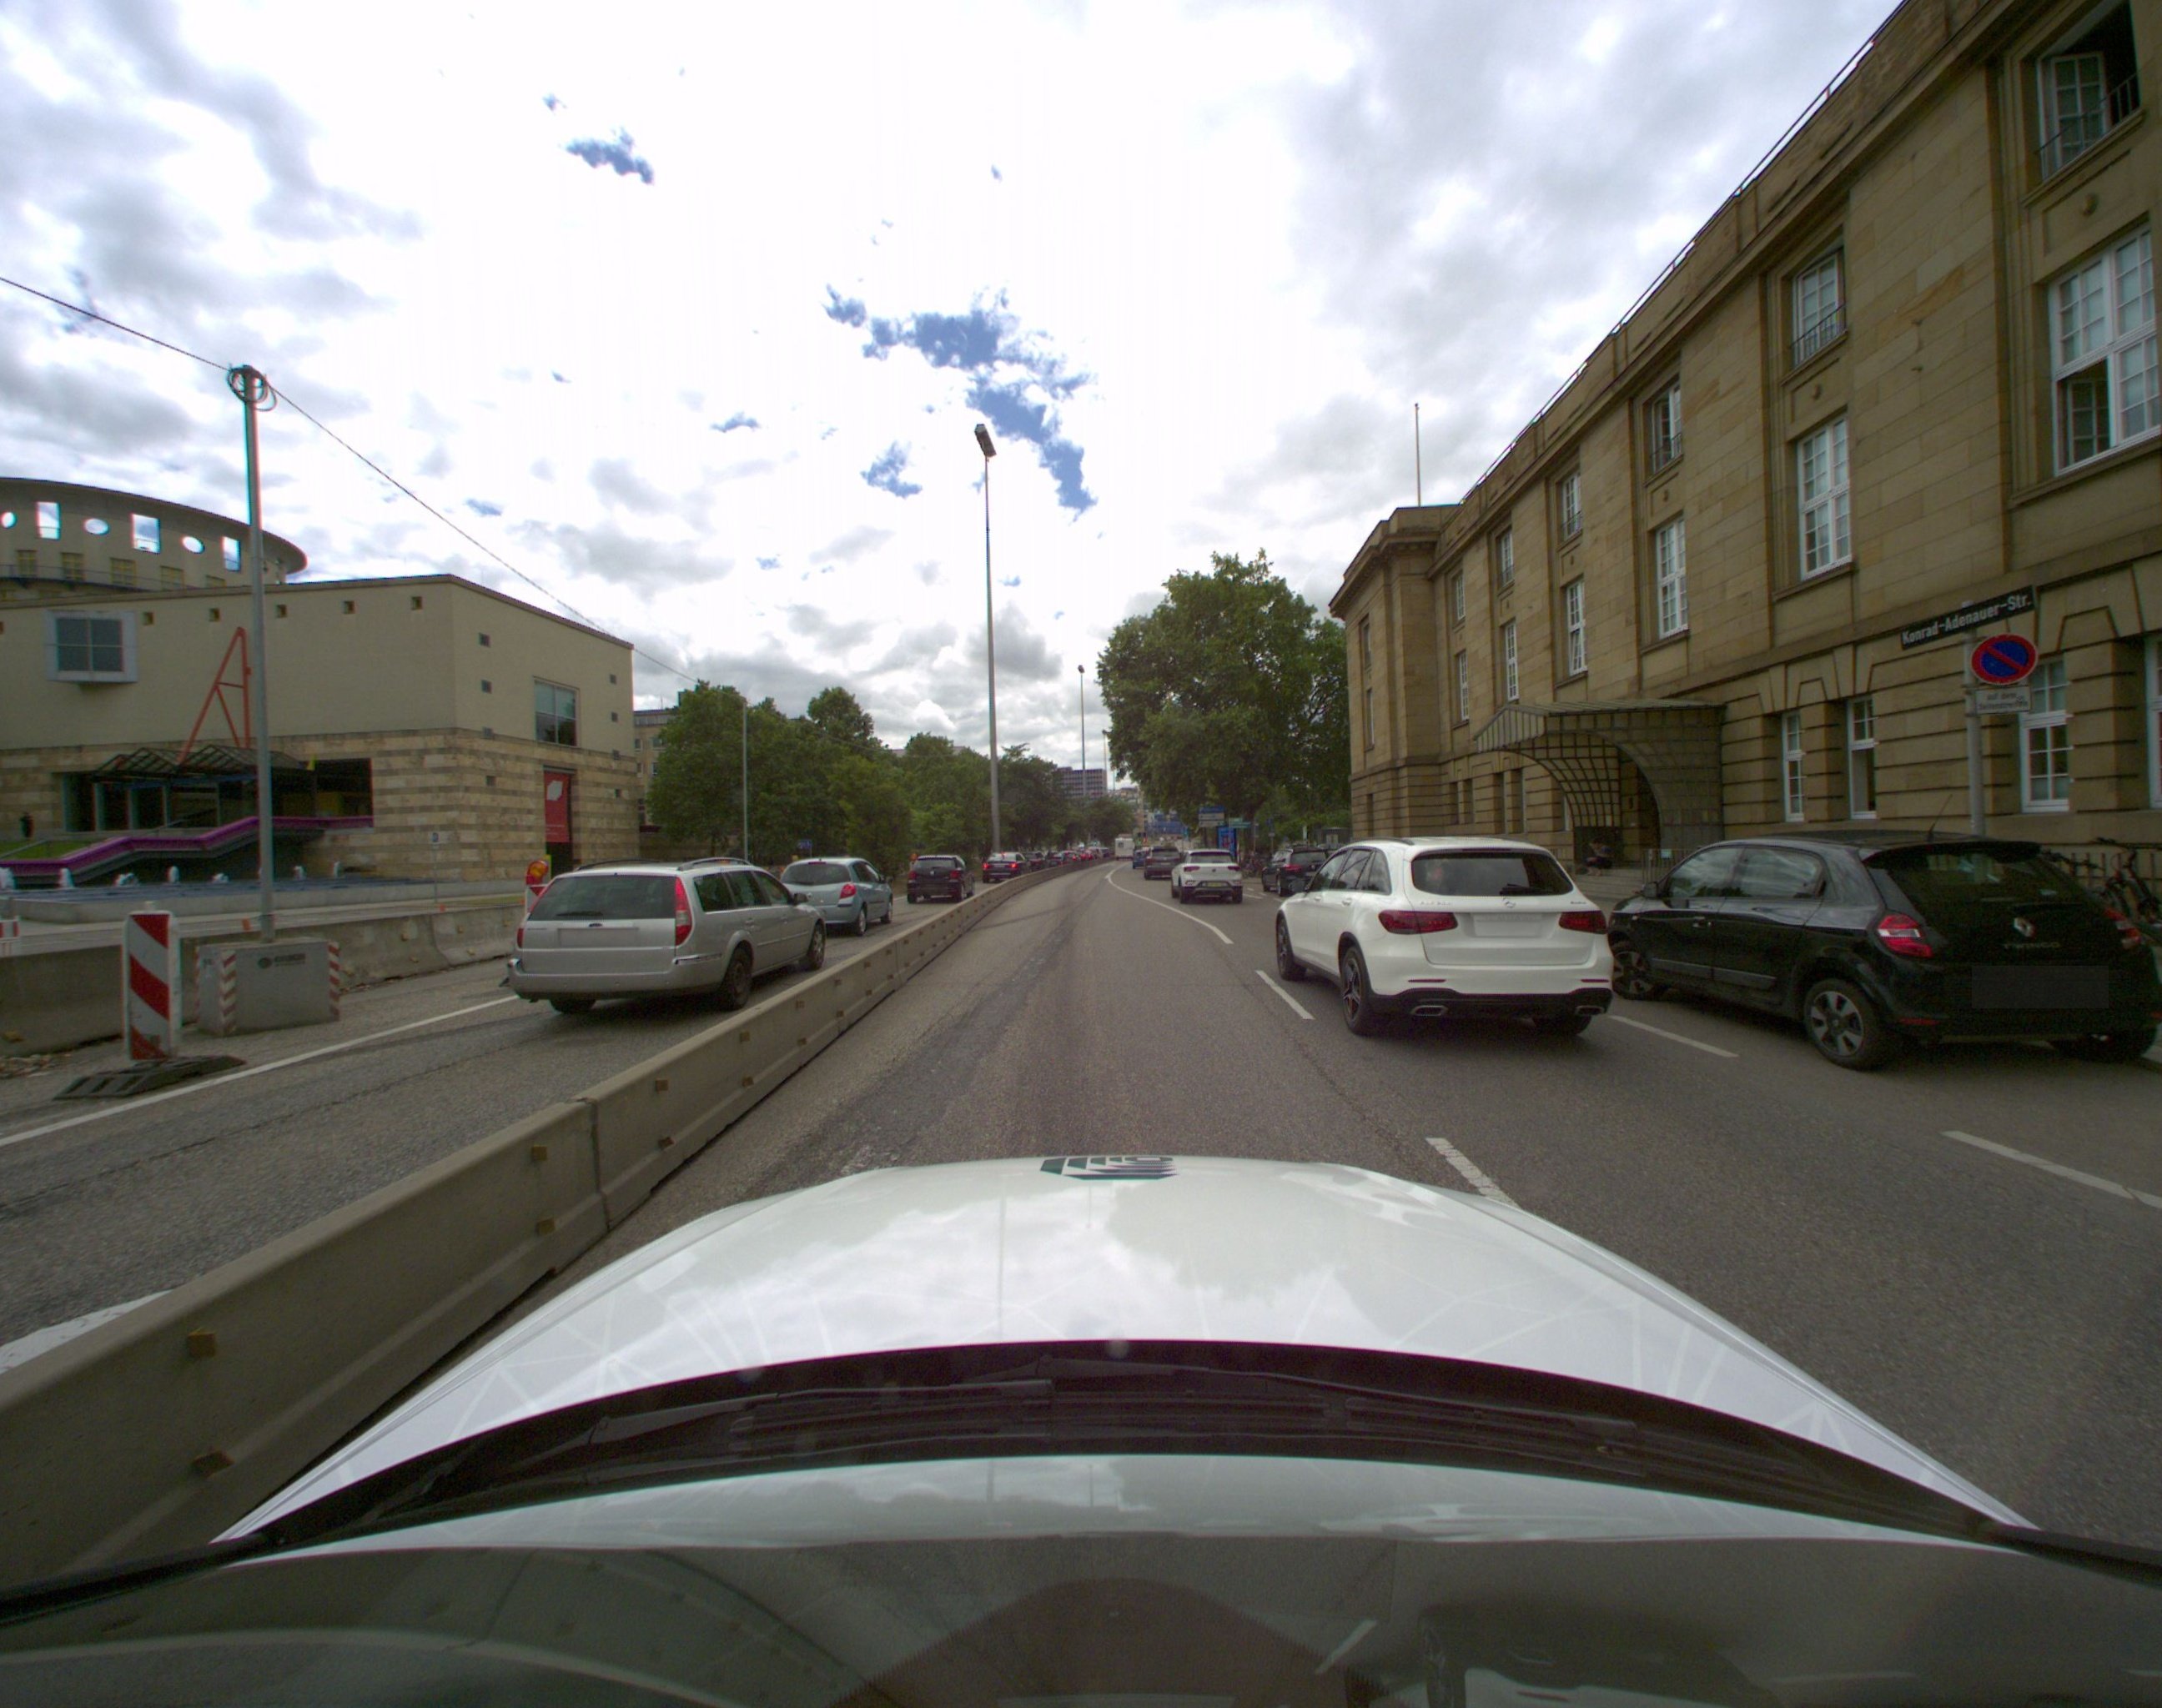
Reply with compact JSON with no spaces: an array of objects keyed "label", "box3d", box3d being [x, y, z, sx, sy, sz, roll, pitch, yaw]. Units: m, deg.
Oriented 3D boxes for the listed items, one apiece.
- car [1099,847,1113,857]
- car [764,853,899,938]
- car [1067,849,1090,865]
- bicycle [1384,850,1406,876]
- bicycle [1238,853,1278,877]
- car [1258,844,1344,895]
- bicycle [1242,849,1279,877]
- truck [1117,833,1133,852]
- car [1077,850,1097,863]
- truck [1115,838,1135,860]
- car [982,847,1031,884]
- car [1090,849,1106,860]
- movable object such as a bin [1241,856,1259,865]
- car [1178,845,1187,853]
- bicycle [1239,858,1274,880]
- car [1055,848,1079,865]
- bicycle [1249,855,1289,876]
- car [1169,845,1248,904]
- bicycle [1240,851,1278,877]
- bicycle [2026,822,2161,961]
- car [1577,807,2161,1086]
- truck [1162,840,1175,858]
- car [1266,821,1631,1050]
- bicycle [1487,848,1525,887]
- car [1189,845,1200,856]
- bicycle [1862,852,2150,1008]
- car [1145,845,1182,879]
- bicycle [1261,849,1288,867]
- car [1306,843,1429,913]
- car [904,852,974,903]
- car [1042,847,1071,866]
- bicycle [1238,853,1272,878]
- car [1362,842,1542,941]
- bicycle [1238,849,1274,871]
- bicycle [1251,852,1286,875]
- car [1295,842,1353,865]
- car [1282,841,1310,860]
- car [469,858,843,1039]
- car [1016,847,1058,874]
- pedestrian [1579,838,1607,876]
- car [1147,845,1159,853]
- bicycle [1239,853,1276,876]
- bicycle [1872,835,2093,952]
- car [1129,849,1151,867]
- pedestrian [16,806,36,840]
[{"label":"car","box3d":[3.538,-0.306,114.635,1.650,1.319,3.554,-1,0,6]},{"label":"car","box3d":[-4.895,0.742,16.494,1.668,1.507,3.850,-1,0,-3]},{"label":"car","box3d":[-0.221,0.241,77.221,1.767,1.420,4.007,-2,0,6]},{"label":"bicycle","box3d":[12.613,0.359,32.773,0.239,0.997,1.965,-2,0,5]},{"label":"bicycle","box3d":[7.960,0.497,36.556,1.647,1.074,0.588,-1,0,24]},{"label":"car","box3d":[7.049,0.468,26.504,1.781,1.486,4.328,-1,0,2]},{"label":"bicycle","box3d":[8.158,0.420,37.031,1.528,1.256,0.546,0,0,23]},{"label":"truck","box3d":[7.522,-1.922,138.616,2.679,2.992,5.645,0,0,4]},{"label":"car","box3d":[0.650,0.268,85.043,1.650,1.319,3.554,-1,0,7]},{"label":"truck","box3d":[5.958,-0.732,109.550,2.609,2.861,7.087,0,0,4]},{"label":"car","box3d":[-3.589,0.530,40.010,1.917,1.636,4.936,-1,0,0]},{"label":"car","box3d":[2.140,0.114,100.578,1.650,1.319,3.554,-1,0,6]},{"label":"movable object such as a bin","box3d":[12.293,0.457,59.288,1.290,0.652,0.731,0,-1,13]},{"label":"car","box3d":[22.369,-1.111,179.672,1.750,1.669,4.175,-1,0,6]},{"label":"bicycle","box3d":[8.819,0.744,40.906,1.714,1.091,0.428,0,0,17]},{"label":"car","box3d":[-1.147,0.221,69.465,1.653,1.436,3.966,-1,0,5]},{"label":"bicycle","box3d":[8.633,0.520,37.410,1.713,0.917,0.617,-1,0,23]},{"label":"car","box3d":[3.713,0.570,24.291,1.789,1.608,3.755,-1,0,1]},{"label":"bicycle","box3d":[8.634,0.484,39.537,1.751,1.209,0.605,0,0,1]},{"label":"bicycle","box3d":[10.206,0.342,7.753,0.410,1.288,1.793,-2,0,5]},{"label":"car","box3d":[5.872,0.542,6.678,1.538,1.552,3.714,-4,0,6]},{"label":"truck","box3d":[20.395,-1.071,190.268,2.863,4.103,6.647,0,0,5]},{"label":"car","box3d":[3.134,0.578,8.050,1.781,1.625,4.440,0,0,2]},{"label":"bicycle","box3d":[11.673,0.356,22.413,0.221,1.029,1.861,0,0,5]},{"label":"car","box3d":[21.309,-0.576,152.688,1.983,2.013,4.007,-1,0,6]},{"label":"bicycle","box3d":[7.812,0.565,7.019,0.457,1.156,1.833,-2,0,4]},{"label":"car","box3d":[4.126,0.386,41.166,1.652,1.639,3.550,-1,0,3]},{"label":"bicycle","box3d":[13.414,0.273,56.389,1.775,1.221,0.493,-1,0,7]},{"label":"car","box3d":[6.712,0.518,19.506,1.701,1.426,4.001,-3,0,4]},{"label":"car","box3d":[-4.395,0.687,25.736,1.655,1.454,4.193,-1,0,-3]},{"label":"car","box3d":[-1.864,0.151,62.542,1.670,1.367,4.549,-2,0,5]},{"label":"bicycle","box3d":[8.221,0.540,38.456,1.615,1.130,0.467,0,0,-22]},{"label":"car","box3d":[6.342,0.572,14.396,1.608,1.455,3.863,-3,0,4]},{"label":"bicycle","box3d":[8.698,0.286,40.381,1.714,1.091,0.382,0,0,17]},{"label":"bicycle","box3d":[8.665,0.436,37.570,1.551,1.028,0.438,0,0,16]},{"label":"car","box3d":[17.683,-0.007,59.378,3.817,1.568,1.682,-1,0,5]},{"label":"car","box3d":[18.953,-0.335,71.926,1.751,1.551,4.034,-2,2,6]},{"label":"car","box3d":[-4.291,0.810,9.268,1.873,1.481,4.701,-1,0,-2]},{"label":"car","box3d":[-2.598,0.373,48.929,1.807,1.499,4.776,-2,0,5]},{"label":"pedestrian","box3d":[11.952,0.073,19.016,0.427,0.873,0.373,0,-1,6]},{"label":"car","box3d":[12.435,-0.879,139.873,1.937,1.319,4.024,-1,0,6]},{"label":"bicycle","box3d":[8.668,0.512,39.990,1.716,1.091,0.576,0,0,13]},{"label":"bicycle","box3d":[10.429,0.415,9.540,0.553,1.217,1.918,-2,0,5]},{"label":"car","box3d":[4.719,0.328,64.628,1.651,1.413,3.552,-1,0,5]},{"label":"pedestrian","box3d":[-63.589,-1.838,49.086,0.409,2.014,0.601,0,-1,4]}]
